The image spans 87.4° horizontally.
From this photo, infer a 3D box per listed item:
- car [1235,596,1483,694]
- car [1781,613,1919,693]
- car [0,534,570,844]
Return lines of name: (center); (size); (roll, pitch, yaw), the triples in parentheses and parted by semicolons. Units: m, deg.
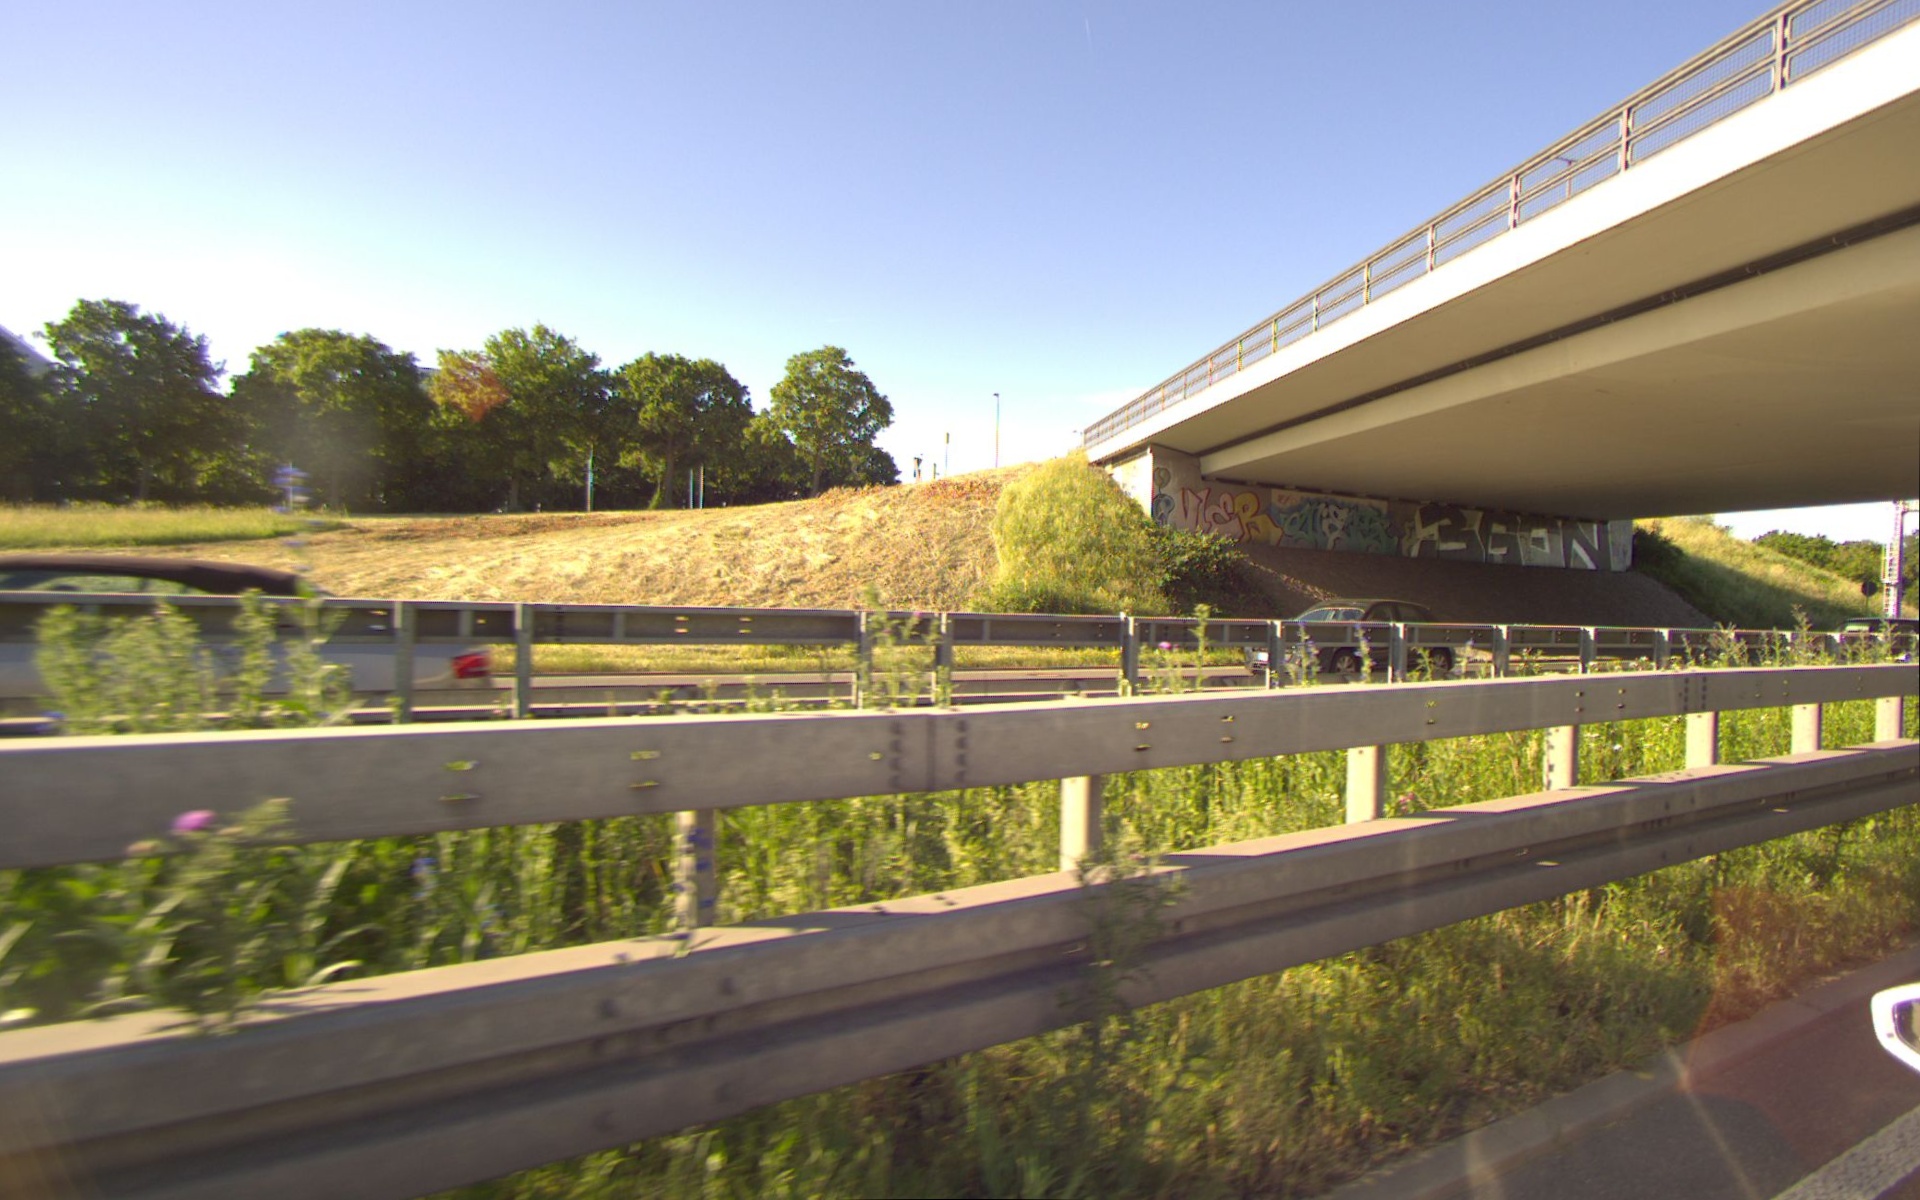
car: (7.081, 0.757, 17.720); (4.406, 1.525, 1.740); (2, 0, -31)
car: (19.388, 1.084, 21.382); (4.179, 1.525, 1.739); (2, 0, -33)
car: (-4.522, 0.410, 5.719); (4.061, 1.463, 1.752); (2, 1, -30)
